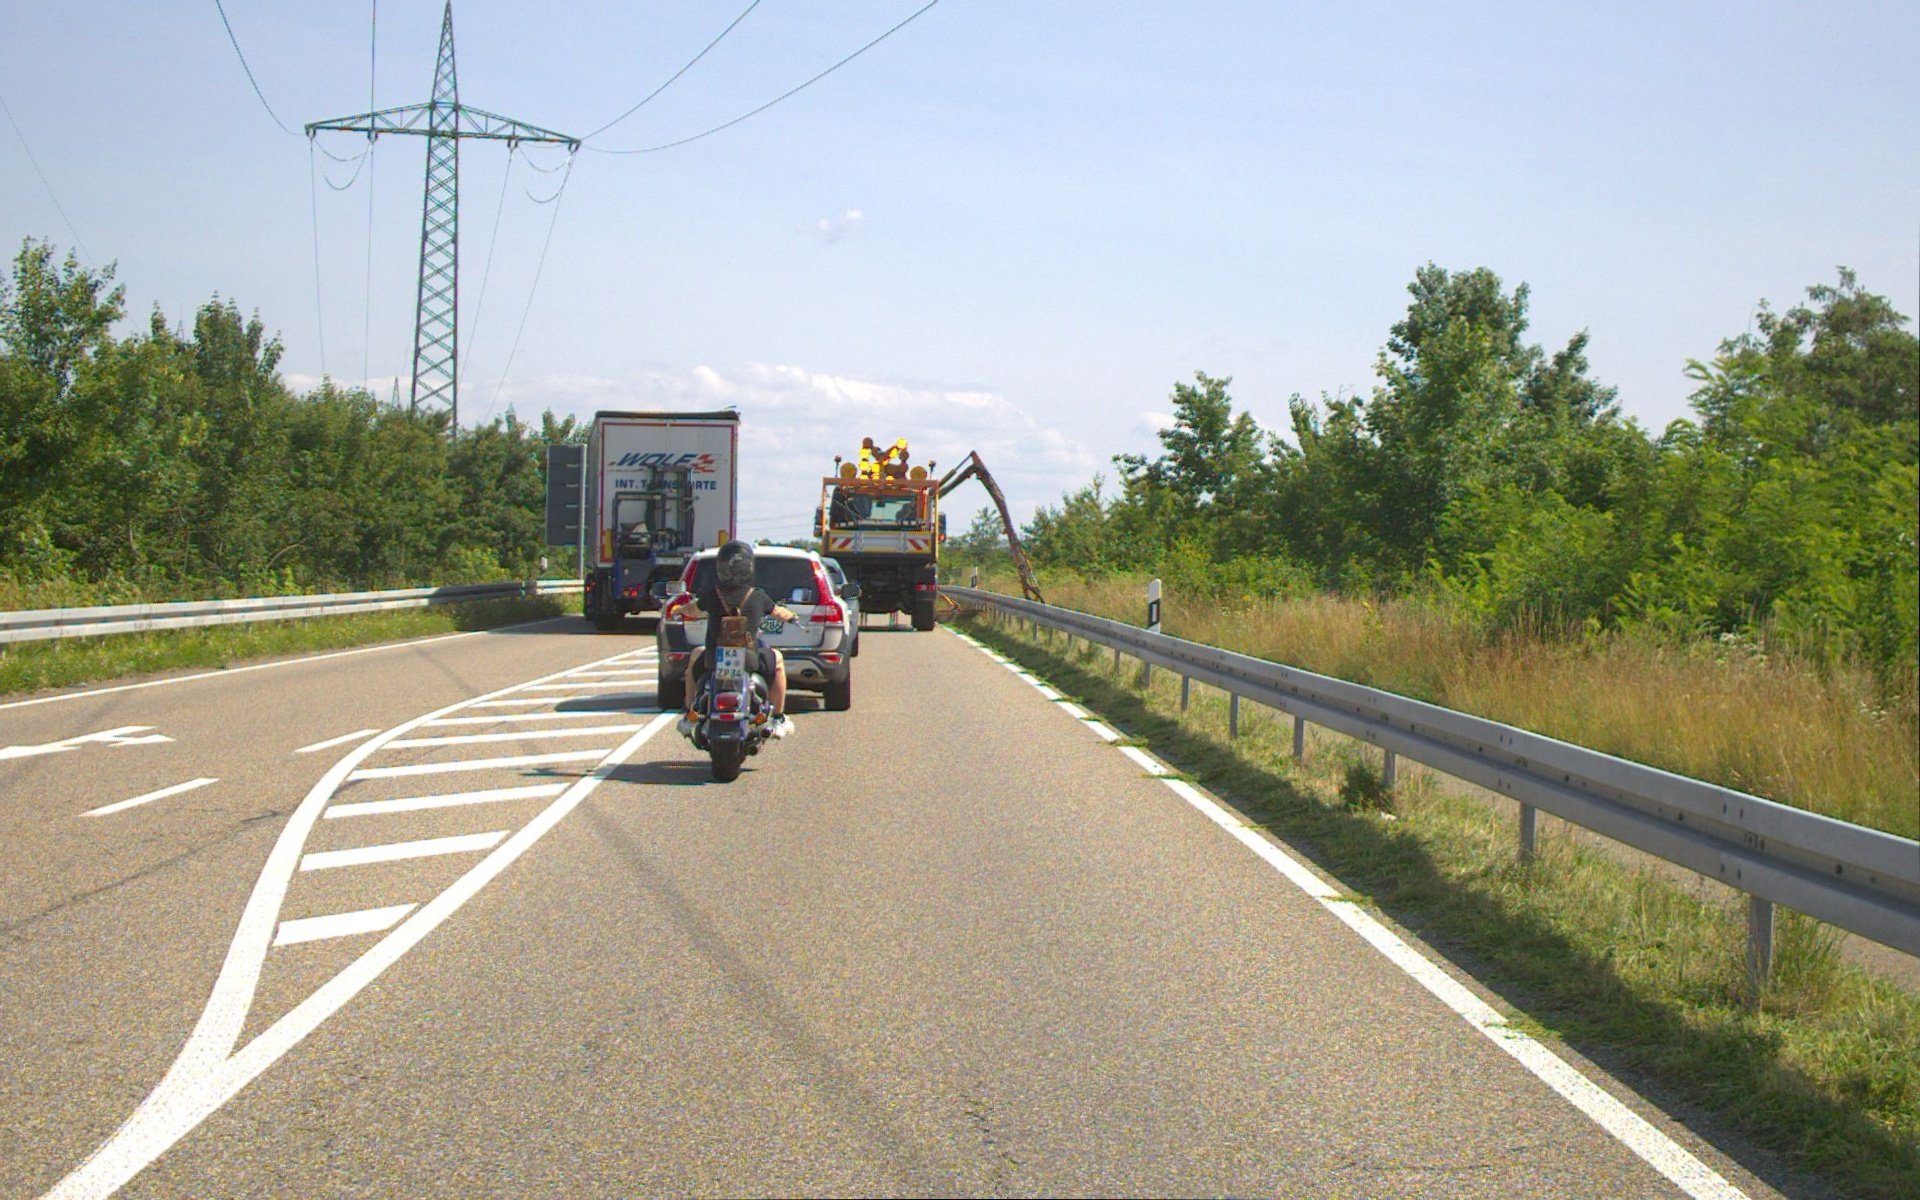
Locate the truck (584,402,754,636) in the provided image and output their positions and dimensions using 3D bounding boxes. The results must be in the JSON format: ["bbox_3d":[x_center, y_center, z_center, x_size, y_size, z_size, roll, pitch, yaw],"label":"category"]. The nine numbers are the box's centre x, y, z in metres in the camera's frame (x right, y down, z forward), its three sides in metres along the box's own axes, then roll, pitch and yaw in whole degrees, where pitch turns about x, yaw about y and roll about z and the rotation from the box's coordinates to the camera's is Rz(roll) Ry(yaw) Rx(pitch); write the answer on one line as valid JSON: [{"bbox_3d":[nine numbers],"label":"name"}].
[{"bbox_3d":[-5.934,-1.591,69.465,2.967,4.172,14.825,1,1,-5],"label":"truck"}]

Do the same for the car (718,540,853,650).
[{"bbox_3d":[-2.525,-0.103,50.168,1.854,1.484,3.741,1,1,-2],"label":"car"}]

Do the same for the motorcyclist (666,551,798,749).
[{"bbox_3d":[-1.519,0.324,22.941,0.837,1.276,0.919,1,1,-3],"label":"motorcyclist"}]

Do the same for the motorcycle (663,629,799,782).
[{"bbox_3d":[-1.525,0.682,23.048,0.858,0.912,2.228,1,1,-3],"label":"motorcycle"}]

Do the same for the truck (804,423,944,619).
[{"bbox_3d":[-1.776,-1.571,69.360,2.613,3.698,6.778,1,1,-2],"label":"truck"}]

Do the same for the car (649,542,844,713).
[{"bbox_3d":[-2.111,0.221,33.219,1.700,1.531,3.500,1,1,-6],"label":"car"}]
